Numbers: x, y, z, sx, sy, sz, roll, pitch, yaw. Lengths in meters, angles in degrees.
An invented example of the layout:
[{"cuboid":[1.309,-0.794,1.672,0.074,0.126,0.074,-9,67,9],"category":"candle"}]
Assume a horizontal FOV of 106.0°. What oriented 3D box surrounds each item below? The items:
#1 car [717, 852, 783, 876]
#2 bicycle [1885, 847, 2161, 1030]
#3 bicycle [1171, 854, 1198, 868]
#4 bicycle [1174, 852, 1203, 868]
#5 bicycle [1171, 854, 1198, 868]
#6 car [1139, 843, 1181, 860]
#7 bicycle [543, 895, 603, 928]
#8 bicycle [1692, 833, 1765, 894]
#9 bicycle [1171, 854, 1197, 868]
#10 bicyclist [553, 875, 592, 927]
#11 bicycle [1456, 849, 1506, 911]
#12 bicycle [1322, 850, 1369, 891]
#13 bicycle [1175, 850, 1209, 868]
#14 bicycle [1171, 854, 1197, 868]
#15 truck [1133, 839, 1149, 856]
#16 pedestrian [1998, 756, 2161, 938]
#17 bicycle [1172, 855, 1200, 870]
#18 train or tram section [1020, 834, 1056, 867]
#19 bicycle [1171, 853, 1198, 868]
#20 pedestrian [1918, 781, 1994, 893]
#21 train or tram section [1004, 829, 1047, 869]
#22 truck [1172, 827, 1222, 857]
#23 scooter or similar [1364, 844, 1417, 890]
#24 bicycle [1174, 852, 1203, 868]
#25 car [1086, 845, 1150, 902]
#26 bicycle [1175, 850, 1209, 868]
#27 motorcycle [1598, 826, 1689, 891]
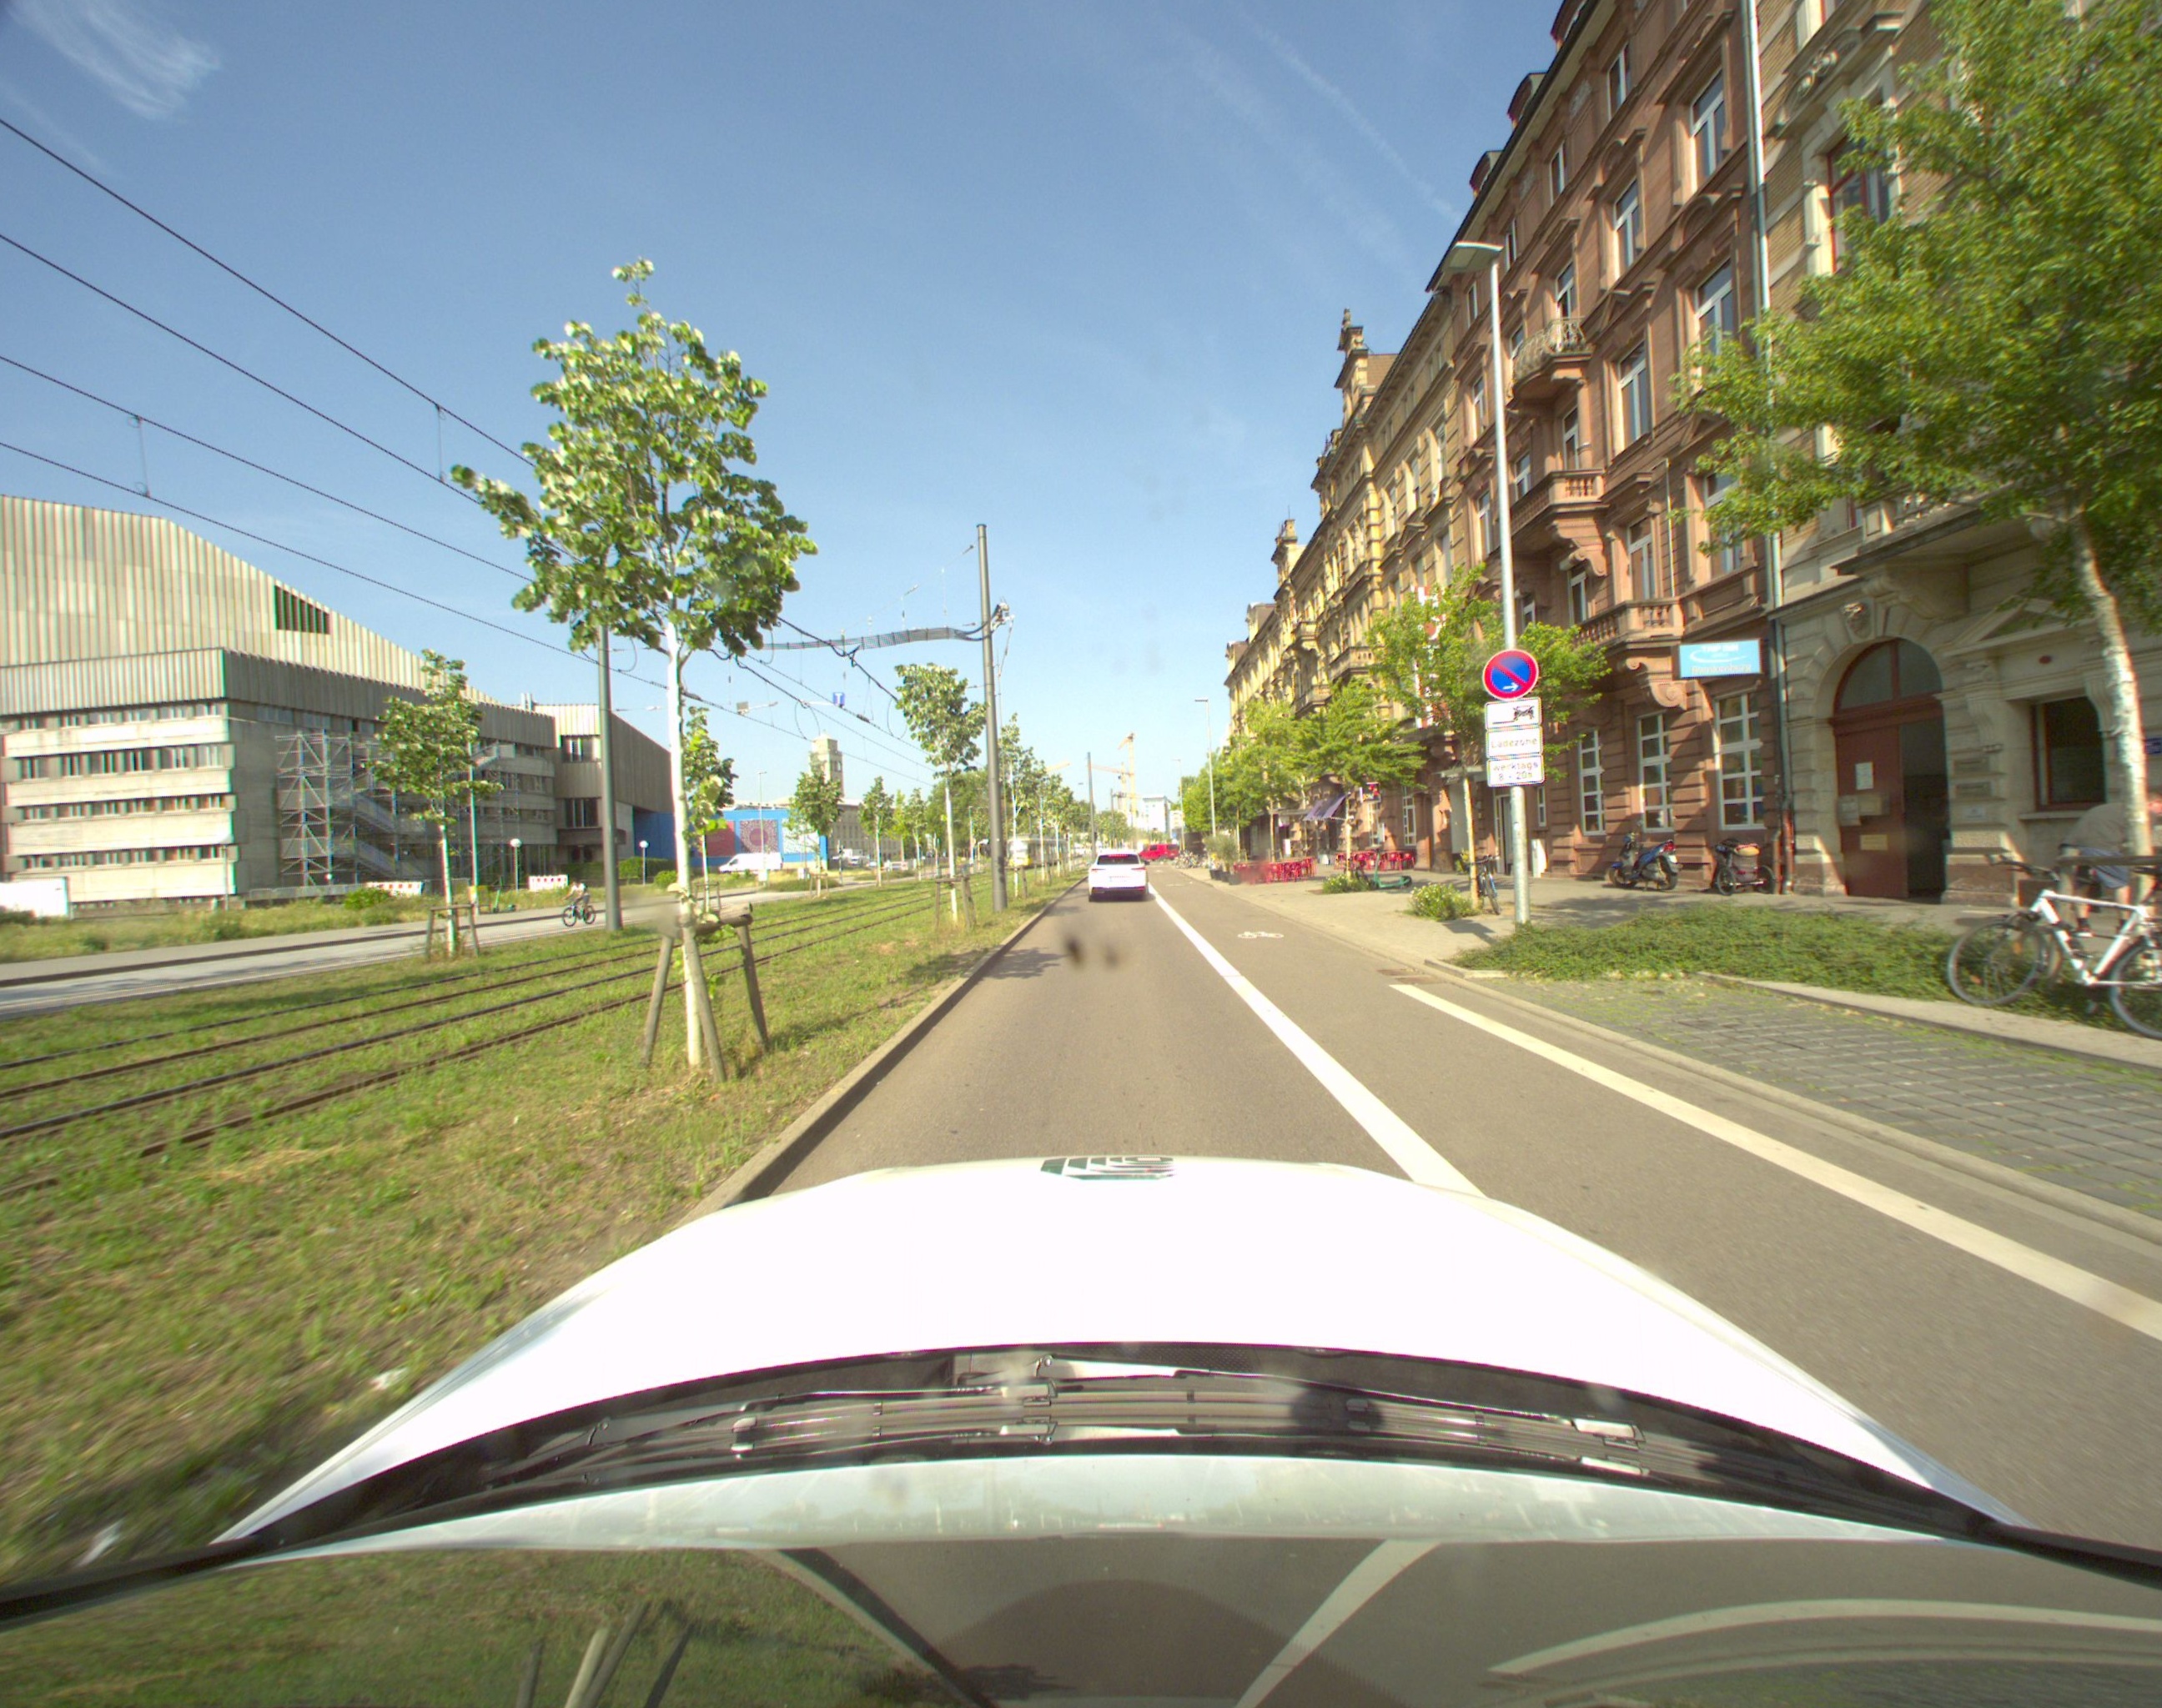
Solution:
[{"cuboid":[-37.806,1.101,93.185,6.896,2.638,2.498,0,-1,-19],"category":"car"},{"cuboid":[6.849,0.513,5.777,0.491,1.094,1.827,-3,0,2],"category":"bicycle"},{"cuboid":[7.844,0.537,61.769,1.925,0.945,0.441,-5,0,6],"category":"bicycle"},{"cuboid":[7.691,0.428,58.379,1.947,0.986,0.471,-5,0,3],"category":"bicycle"},{"cuboid":[7.895,0.540,62.246,1.925,0.945,0.441,-5,0,6],"category":"bicycle"},{"cuboid":[8.566,-0.230,88.508,2.010,1.684,4.319,-3,0,-38],"category":"car"},{"cuboid":[-17.717,1.997,28.463,0.659,0.961,2.079,-4,-1,2],"category":"bicycle"},{"cuboid":[11.551,0.162,14.564,0.394,1.018,1.258,-3,0,7],"category":"bicycle"},{"cuboid":[7.940,0.543,62.629,1.925,0.945,0.429,-5,0,6],"category":"bicycle"},{"cuboid":[-17.754,1.615,28.435,0.644,1.736,0.919,-4,-1,2],"category":"bicyclist"},{"cuboid":[7.632,0.467,15.585,0.501,1.060,1.721,-4,0,17],"category":"bicycle"},{"cuboid":[7.743,0.474,23.894,0.594,1.122,1.923,-2,0,-4],"category":"bicycle"},{"cuboid":[7.734,0.359,56.592,2.229,1.104,0.589,-5,0,3],"category":"bicycle"},{"cuboid":[8.004,0.546,63.070,1.925,0.945,0.429,-5,0,6],"category":"bicycle"},{"cuboid":[8.779,-0.936,118.776,2.203,2.318,5.896,-3,0,4],"category":"truck"},{"cuboid":[10.144,-0.075,8.195,0.821,1.696,0.792,-5,0,-2],"category":"pedestrian"},{"cuboid":[7.688,0.618,59.671,1.926,0.874,0.441,-5,0,3],"category":"bicycle"},{"cuboid":[-4.950,-0.344,96.143,2.887,3.586,12.941,-3,-1,2],"category":"train or tram section"},{"cuboid":[7.793,0.496,61.323,1.925,1.013,0.441,-5,0,6],"category":"bicycle"},{"cuboid":[13.289,-0.255,12.381,0.483,1.658,0.568,-3,0,-10],"category":"pedestrian"},{"cuboid":[-5.505,-0.438,83.508,2.887,3.586,12.484,-3,-1,2],"category":"train or tram section"},{"cuboid":[12.912,-1.309,90.926,2.518,3.011,6.913,-3,0,-20],"category":"truck"},{"cuboid":[8.564,0.351,22.541,1.250,1.157,0.340,-5,-1,5],"category":"scooter or similar"},{"cuboid":[7.646,0.425,57.900,1.926,0.986,0.471,-5,0,3],"category":"bicycle"},{"cuboid":[1.148,0.567,25.938,1.810,1.590,4.409,-2,0,2],"category":"car"},{"cuboid":[7.781,0.363,57.146,2.229,1.104,0.519,-5,0,3],"category":"bicycle"},{"cuboid":[11.181,0.088,16.270,0.461,1.175,1.946,-5,0,2],"category":"motorcycle"}]
